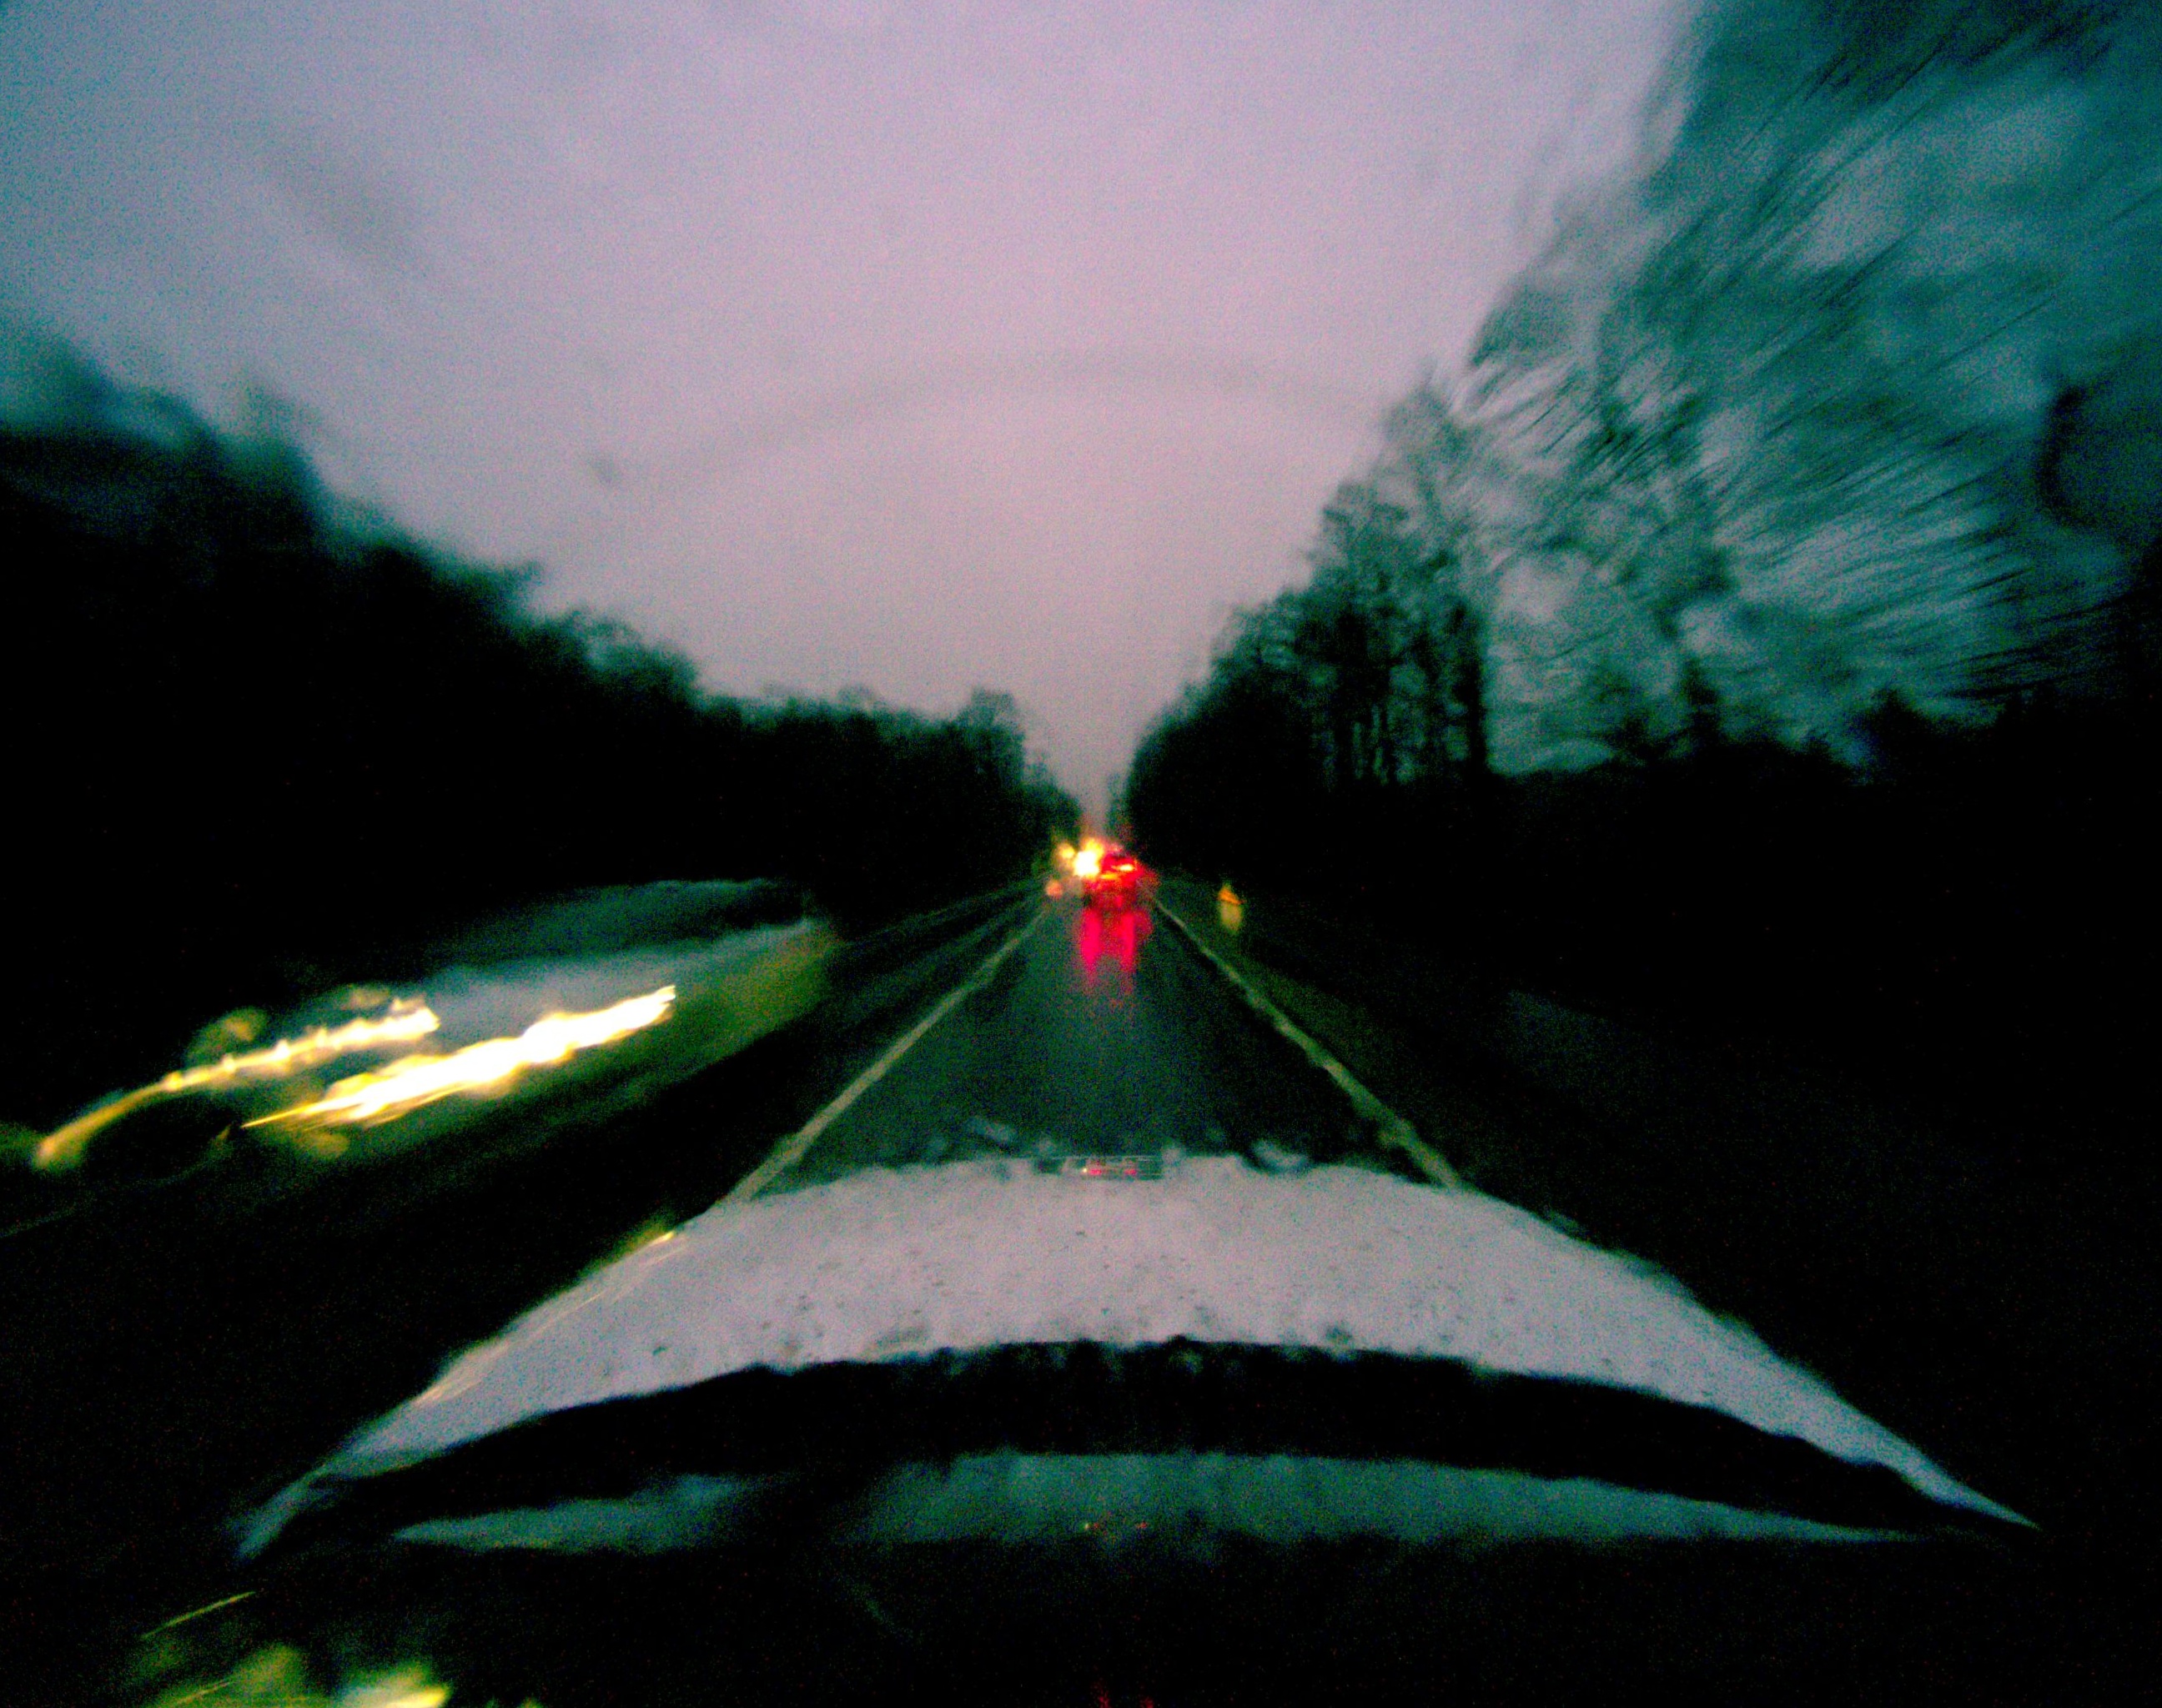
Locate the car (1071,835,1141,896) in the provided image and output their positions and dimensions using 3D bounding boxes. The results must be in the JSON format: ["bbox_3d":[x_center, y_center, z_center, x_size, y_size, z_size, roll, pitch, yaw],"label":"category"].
[{"bbox_3d":[0.833,0.347,28.022,2.190,1.877,4.828,-1,0,1],"label":"car"}]

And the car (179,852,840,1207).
[{"bbox_3d":[-3.203,0.797,5.719,1.743,1.552,3.993,-2,0,0],"label":"car"}]
